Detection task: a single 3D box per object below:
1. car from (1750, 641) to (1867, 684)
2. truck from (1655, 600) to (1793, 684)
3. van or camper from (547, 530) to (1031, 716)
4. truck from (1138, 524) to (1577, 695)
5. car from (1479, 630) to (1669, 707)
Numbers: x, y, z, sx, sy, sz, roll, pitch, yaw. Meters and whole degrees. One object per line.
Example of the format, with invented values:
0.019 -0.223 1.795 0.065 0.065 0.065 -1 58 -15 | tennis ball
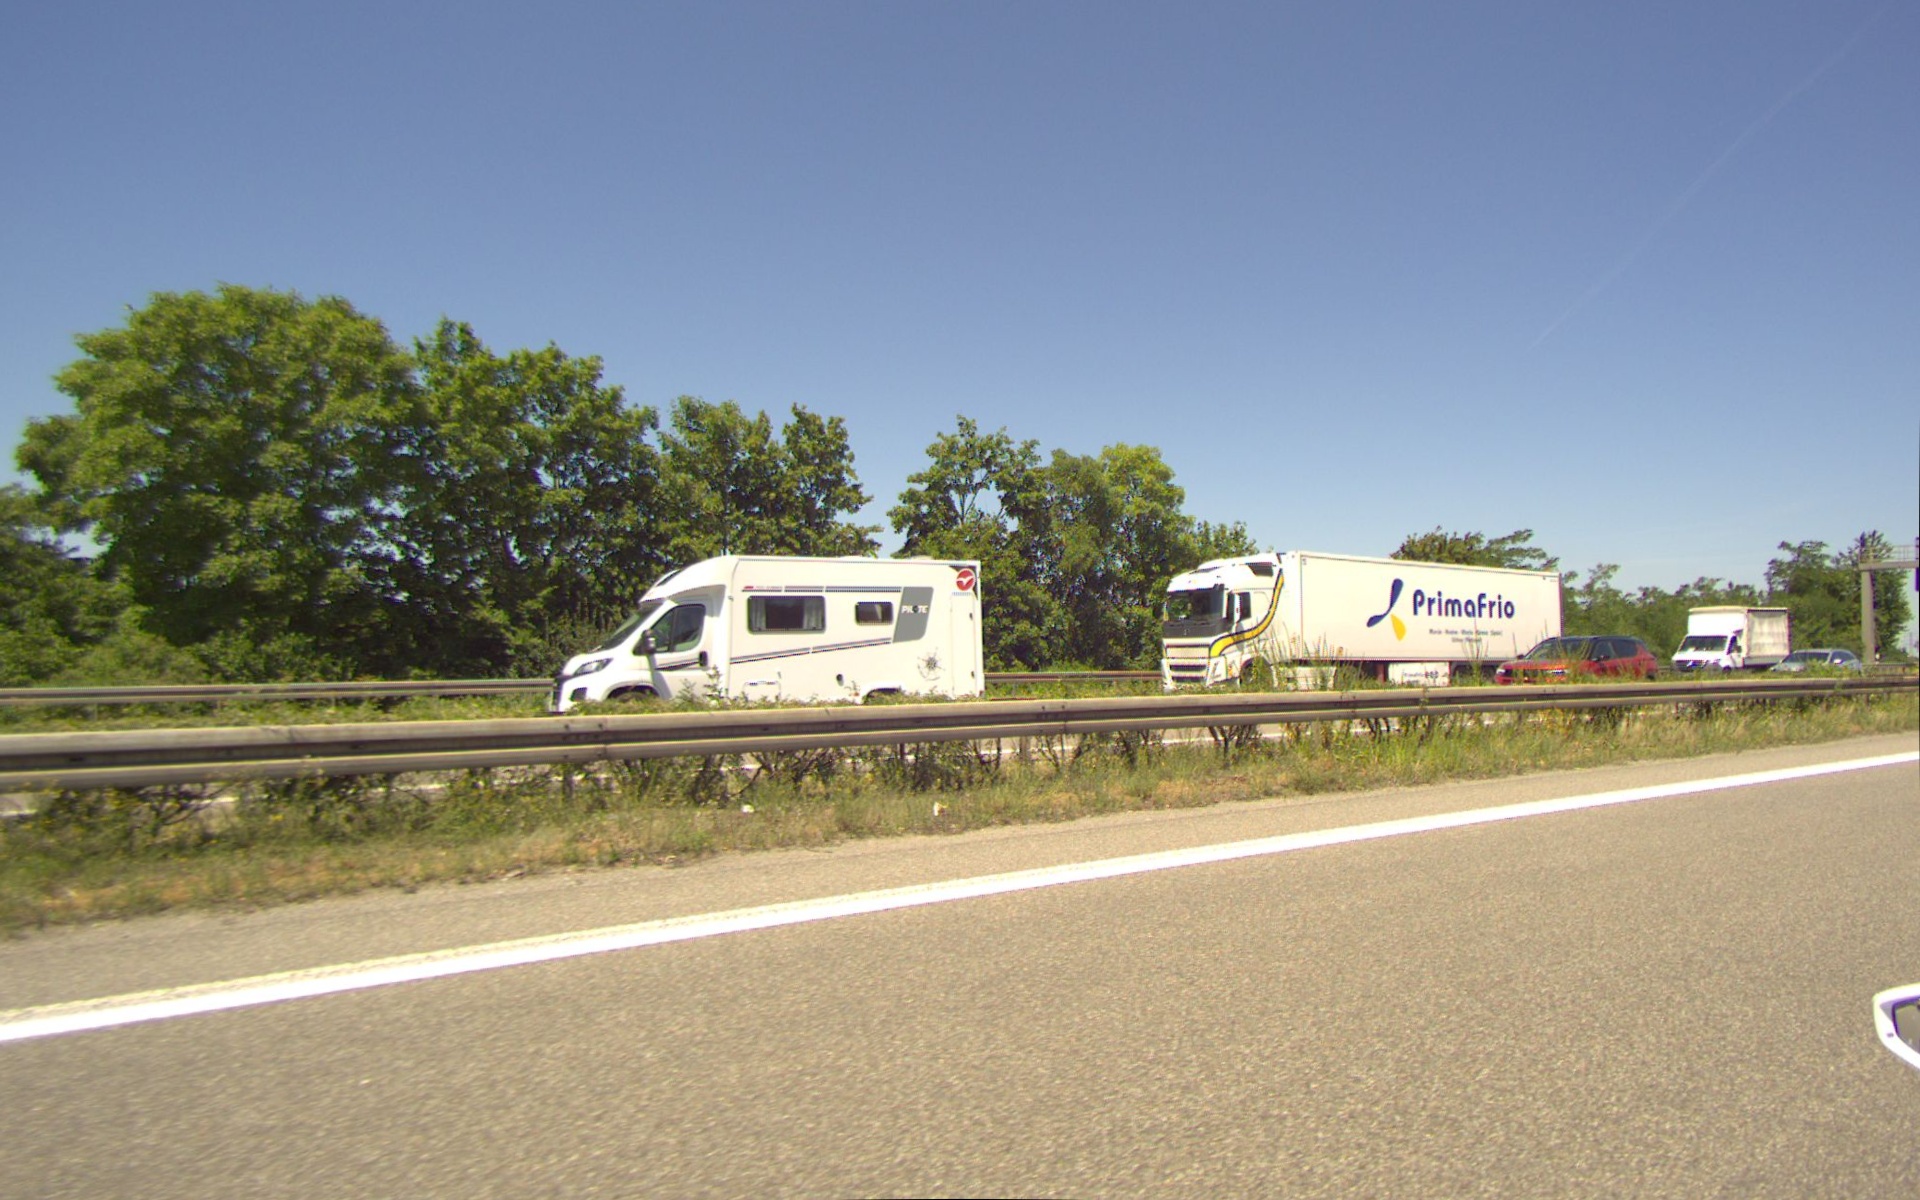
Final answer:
32.702 2.380 38.698 4.888 1.504 1.984 2 -2 -31 | car
34.230 1.859 44.937 7.336 3.510 2.358 2 -2 -31 | truck
-2.689 0.440 16.994 7.714 2.593 2.457 2 -2 -29 | van or camper
13.238 0.561 31.854 16.995 4.433 3.201 2 -5 -31 | truck
13.553 1.467 22.145 3.954 1.539 1.984 2 -2 -31 | car
